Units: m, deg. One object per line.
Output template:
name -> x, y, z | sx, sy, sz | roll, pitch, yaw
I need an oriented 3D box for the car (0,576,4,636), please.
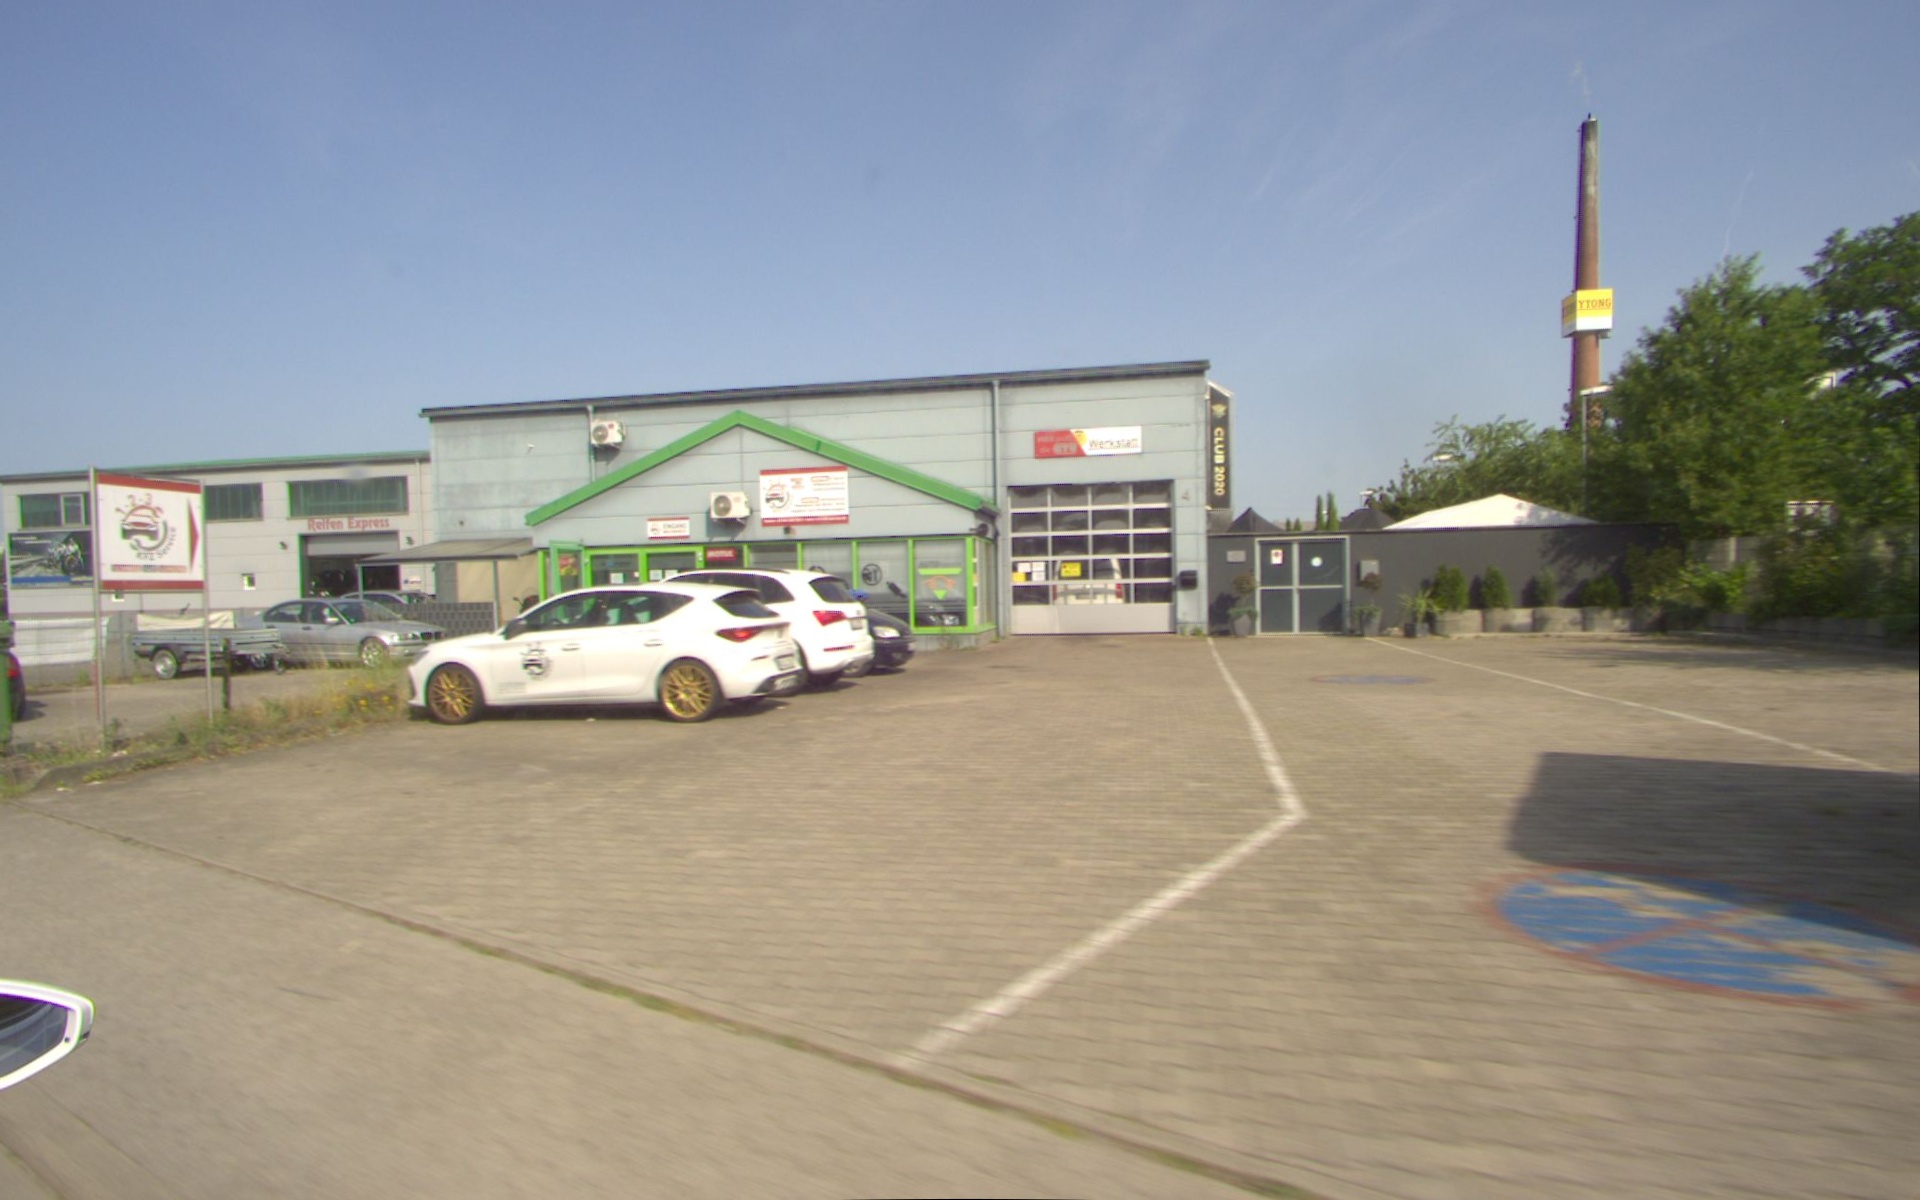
car -> -46.905, 0.324, 46.717 | 5.797, 2.742, 1.969 | -1, 2, 33

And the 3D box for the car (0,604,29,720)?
car -> -13.588, 0.780, 12.871 | 4.338, 1.387, 1.667 | -1, 1, 38

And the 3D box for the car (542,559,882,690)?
car -> -3.235, 0.317, 13.439 | 4.054, 1.593, 1.719 | -1, 1, 9

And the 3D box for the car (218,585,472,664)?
car -> -12.586, 0.480, 20.592 | 4.375, 1.486, 1.643 | -1, 1, 9

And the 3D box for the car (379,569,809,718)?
car -> -3.973, 0.458, 11.180 | 4.181, 1.486, 1.691 | -1, 1, 9

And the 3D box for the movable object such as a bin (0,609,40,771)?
movable object such as a bin -> -9.030, 0.807, 8.735 | 1.485, 1.372, 1.077 | 0, 4, 34

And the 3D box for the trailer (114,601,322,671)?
trailer -> -13.997, 0.671, 18.967 | 2.920, 1.264, 1.494 | -1, 0, 7

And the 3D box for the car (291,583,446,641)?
car -> -17.271, 0.329, 29.317 | 3.734, 1.589, 1.637 | -1, 1, 12

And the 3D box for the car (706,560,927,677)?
car -> -2.251, 0.286, 16.145 | 3.152, 1.743, 1.643 | -1, 1, 9
